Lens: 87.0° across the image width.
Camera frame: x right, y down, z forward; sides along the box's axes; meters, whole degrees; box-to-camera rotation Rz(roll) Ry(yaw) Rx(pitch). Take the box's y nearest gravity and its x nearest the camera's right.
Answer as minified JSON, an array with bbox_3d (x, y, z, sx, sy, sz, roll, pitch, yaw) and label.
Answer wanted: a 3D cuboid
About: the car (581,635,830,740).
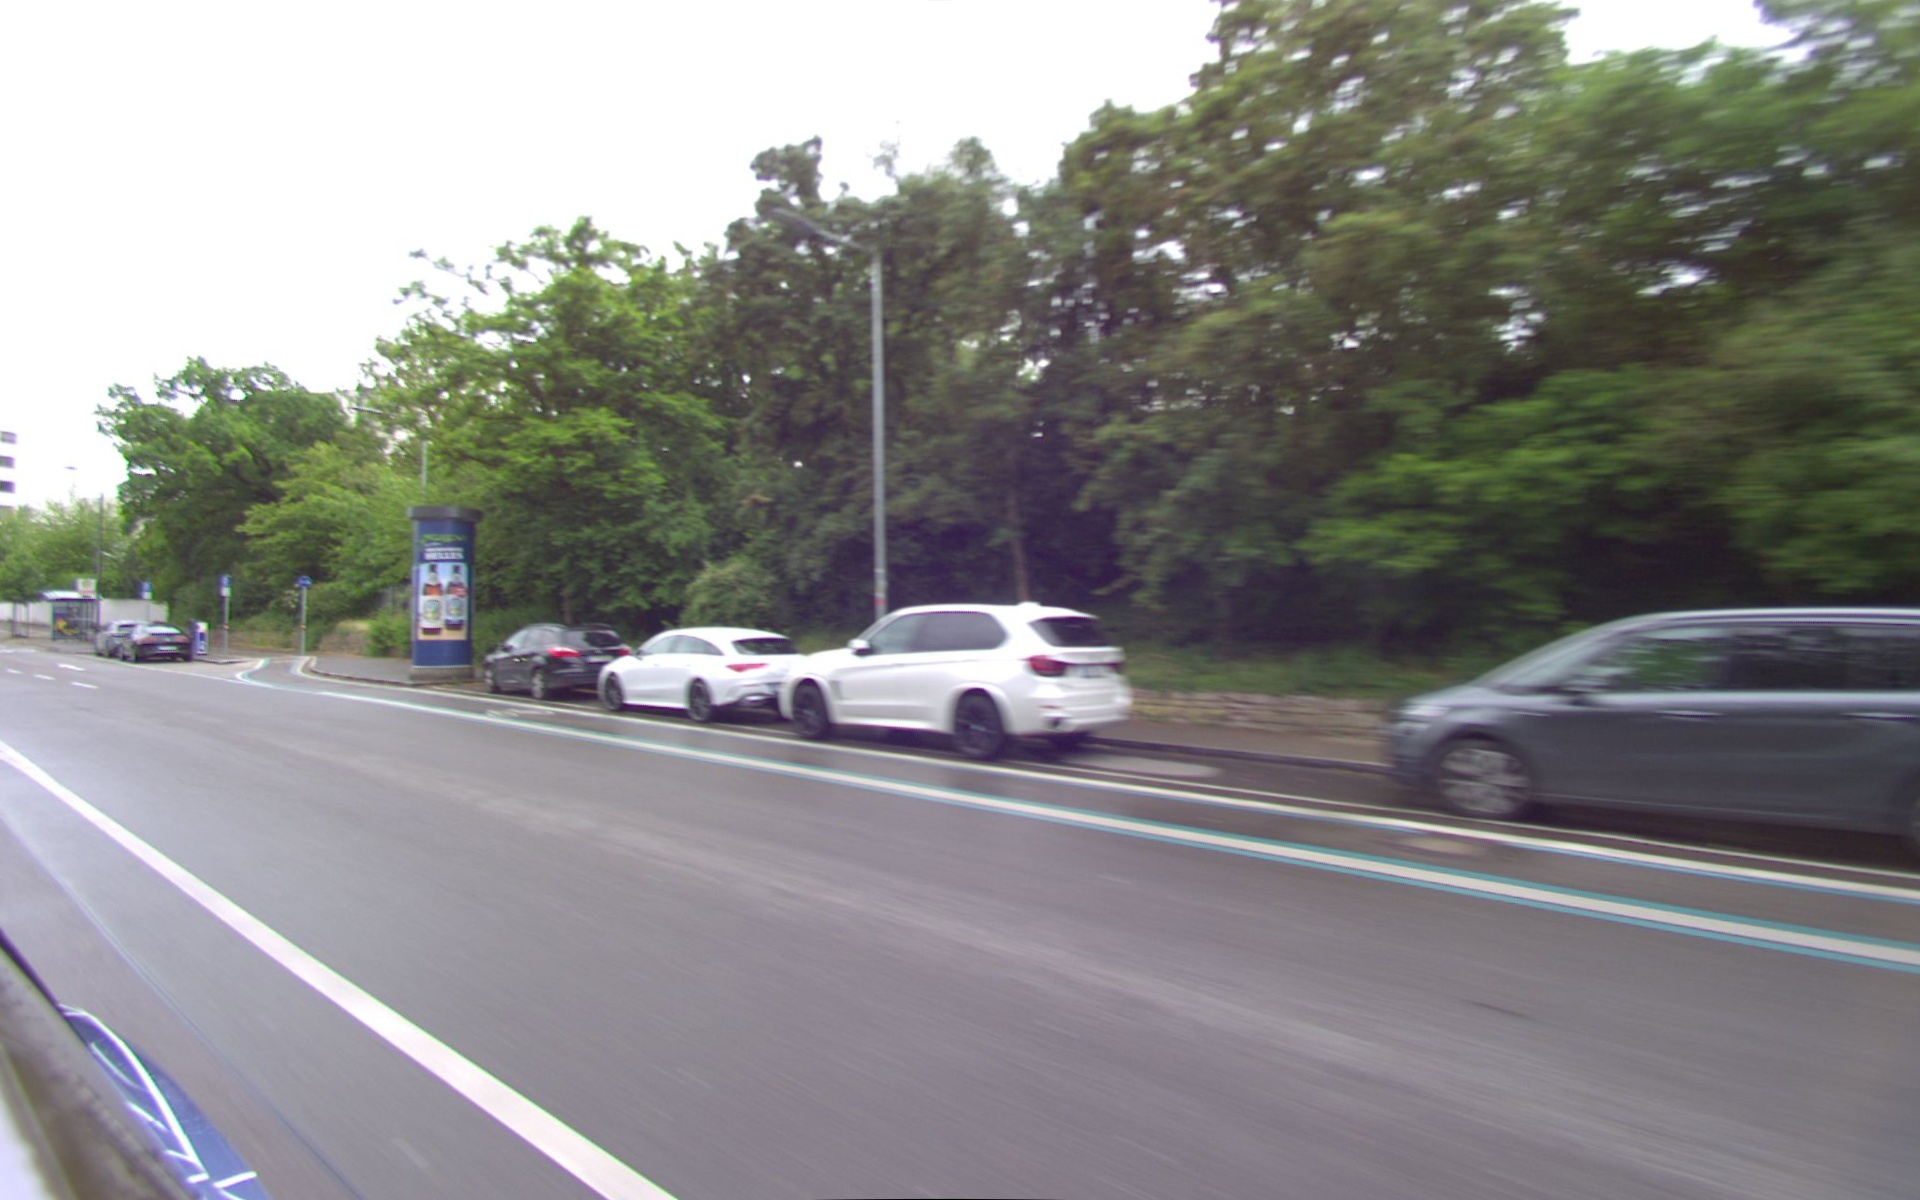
[{"bbox_3d":[-4.294,1.325,16.605,4.708,1.471,1.699,-2,-3,43],"label":"car"}]

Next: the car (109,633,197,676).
[{"bbox_3d":[-30.964,2.036,38.783,4.782,1.425,1.886,-1,0,42],"label":"car"}]

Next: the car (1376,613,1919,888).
[{"bbox_3d":[5.677,0.942,7.390,4.567,1.661,1.714,-2,-2,40],"label":"car"}]

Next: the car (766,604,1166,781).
[{"bbox_3d":[-0.119,0.993,12.617,4.959,1.779,1.972,-2,-2,42],"label":"car"}]

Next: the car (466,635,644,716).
[{"bbox_3d":[-8.368,1.450,20.683,1.729,1.456,4.589,1,-2,-45],"label":"car"}]

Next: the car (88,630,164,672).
[{"bbox_3d":[-35.503,2.121,43.033,4.927,1.601,1.821,-1,0,42],"label":"car"}]
